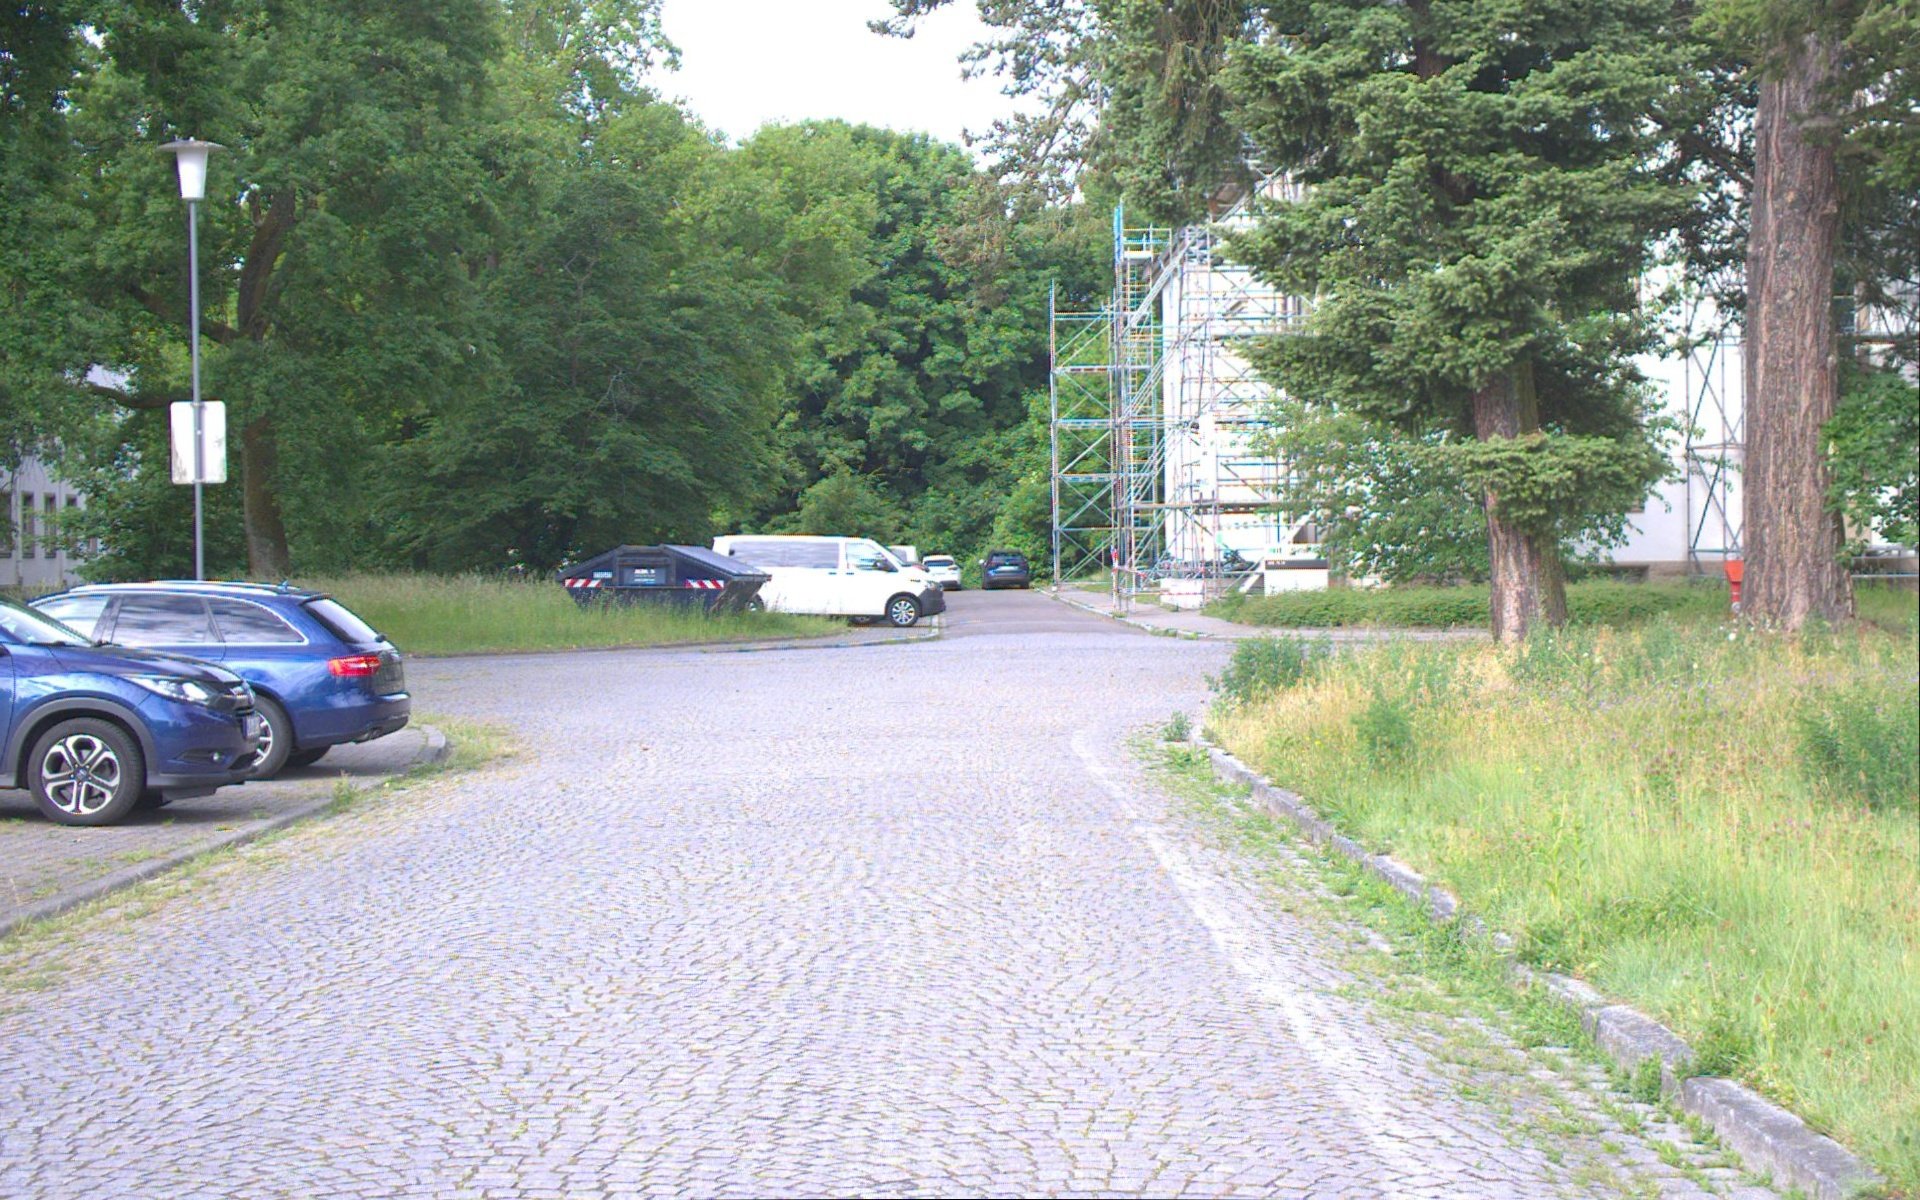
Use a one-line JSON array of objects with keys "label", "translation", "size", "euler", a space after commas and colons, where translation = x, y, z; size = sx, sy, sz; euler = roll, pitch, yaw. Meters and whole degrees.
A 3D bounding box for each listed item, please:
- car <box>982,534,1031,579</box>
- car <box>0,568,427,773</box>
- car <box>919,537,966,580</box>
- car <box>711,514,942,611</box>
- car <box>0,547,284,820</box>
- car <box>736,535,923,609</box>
[{"label": "car", "translation": [1.901, -1.770, 141.313], "size": [1.790, 1.714, 4.061], "euler": [-1, 0, -2]}, {"label": "car", "translation": [-6.222, 0.518, 25.991], "size": [4.072, 1.462, 1.625], "euler": [0, 1, 3]}, {"label": "car", "translation": [-0.720, -1.676, 140.994], "size": [1.790, 1.630, 4.061], "euler": [-1, 0, -2]}, {"label": "car", "translation": [-2.891, -0.810, 74.953], "size": [4.978, 2.065, 2.052], "euler": [0, -1, -1]}, {"label": "car", "translation": [-6.391, 0.496, 21.293], "size": [4.071, 1.598, 1.788], "euler": [-1, 1, -2]}, {"label": "car", "translation": [-3.495, -0.738, 92.370], "size": [4.978, 1.961, 2.052], "euler": [0, -1, -1]}]
